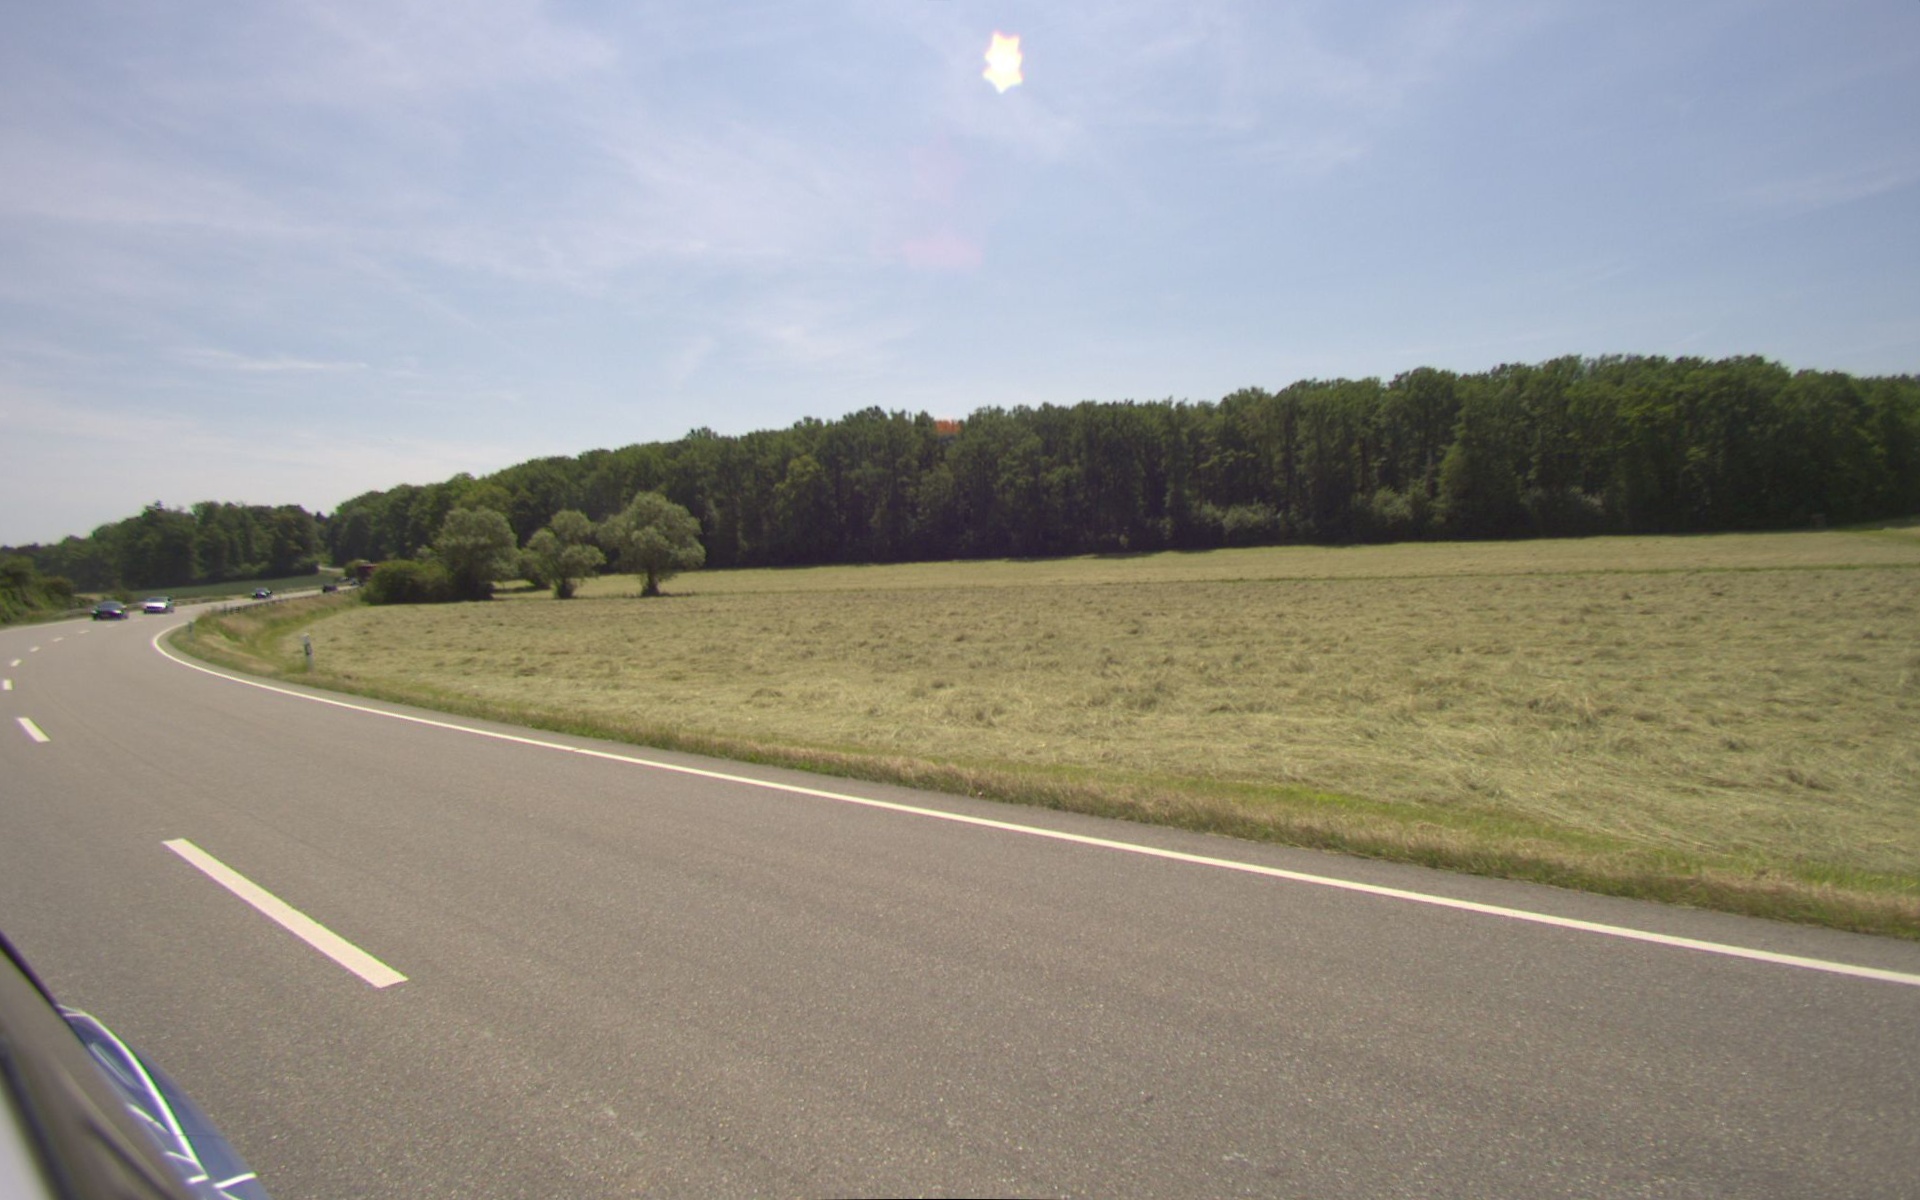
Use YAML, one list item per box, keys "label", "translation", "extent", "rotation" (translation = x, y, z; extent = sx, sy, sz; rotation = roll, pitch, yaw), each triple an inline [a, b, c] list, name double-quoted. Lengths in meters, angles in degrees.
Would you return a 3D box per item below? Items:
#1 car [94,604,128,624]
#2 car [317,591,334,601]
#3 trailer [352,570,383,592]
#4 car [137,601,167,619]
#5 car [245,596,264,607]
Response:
- label: "car"
  translation: [-66.792, 1.092, 79.630]
  extent: [1.595, 1.447, 3.453]
  rotation: [-2, 3, -33]
- label: "car"
  translation: [-103.280, -0.670, 164.799]
  extent: [1.676, 1.480, 4.214]
  rotation: [0, 1, -24]
- label: "trailer"
  translation: [-119.185, -3.858, 203.699]
  extent: [3.195, 4.181, 14.492]
  rotation: [0, 1, -22]
- label: "car"
  translation: [-75.545, 0.924, 94.658]
  extent: [1.595, 1.447, 3.454]
  rotation: [-2, 2, -30]
- label: "car"
  translation: [-97.226, 0.210, 139.443]
  extent: [1.595, 1.447, 3.455]
  rotation: [-2, 2, -25]
